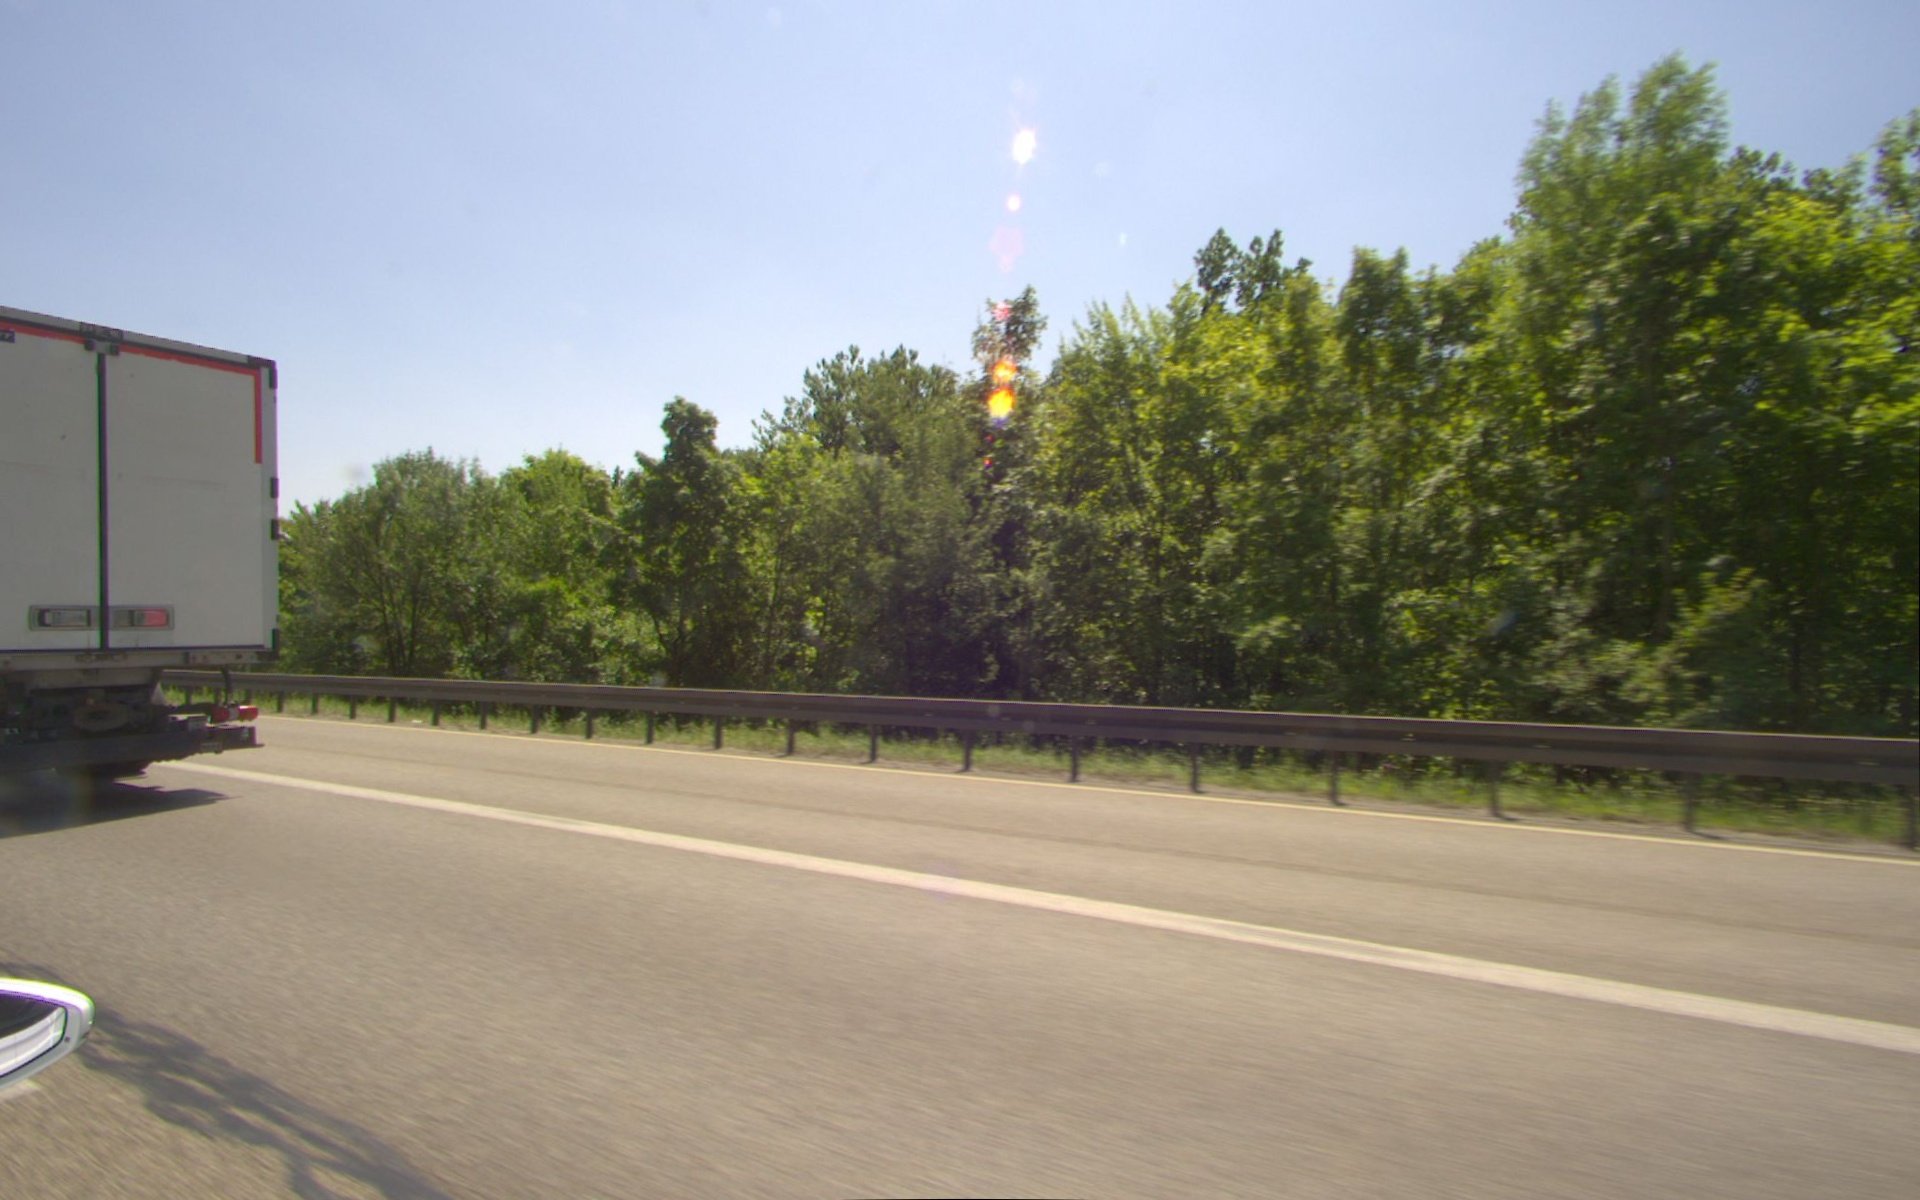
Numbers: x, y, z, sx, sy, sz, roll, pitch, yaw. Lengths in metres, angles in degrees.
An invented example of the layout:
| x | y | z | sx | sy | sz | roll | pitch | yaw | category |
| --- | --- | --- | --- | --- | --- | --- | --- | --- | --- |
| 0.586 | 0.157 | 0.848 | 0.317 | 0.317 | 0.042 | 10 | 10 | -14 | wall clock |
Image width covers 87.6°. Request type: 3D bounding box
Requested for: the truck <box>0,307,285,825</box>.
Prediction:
| x | y | z | sx | sy | sz | roll | pitch | yaw | category |
| --- | --- | --- | --- | --- | --- | --- | --- | --- | --- |
| -10.981 | -0.157 | 10.748 | 9.643 | 3.926 | 2.682 | -1 | -1 | 33 | truck |
